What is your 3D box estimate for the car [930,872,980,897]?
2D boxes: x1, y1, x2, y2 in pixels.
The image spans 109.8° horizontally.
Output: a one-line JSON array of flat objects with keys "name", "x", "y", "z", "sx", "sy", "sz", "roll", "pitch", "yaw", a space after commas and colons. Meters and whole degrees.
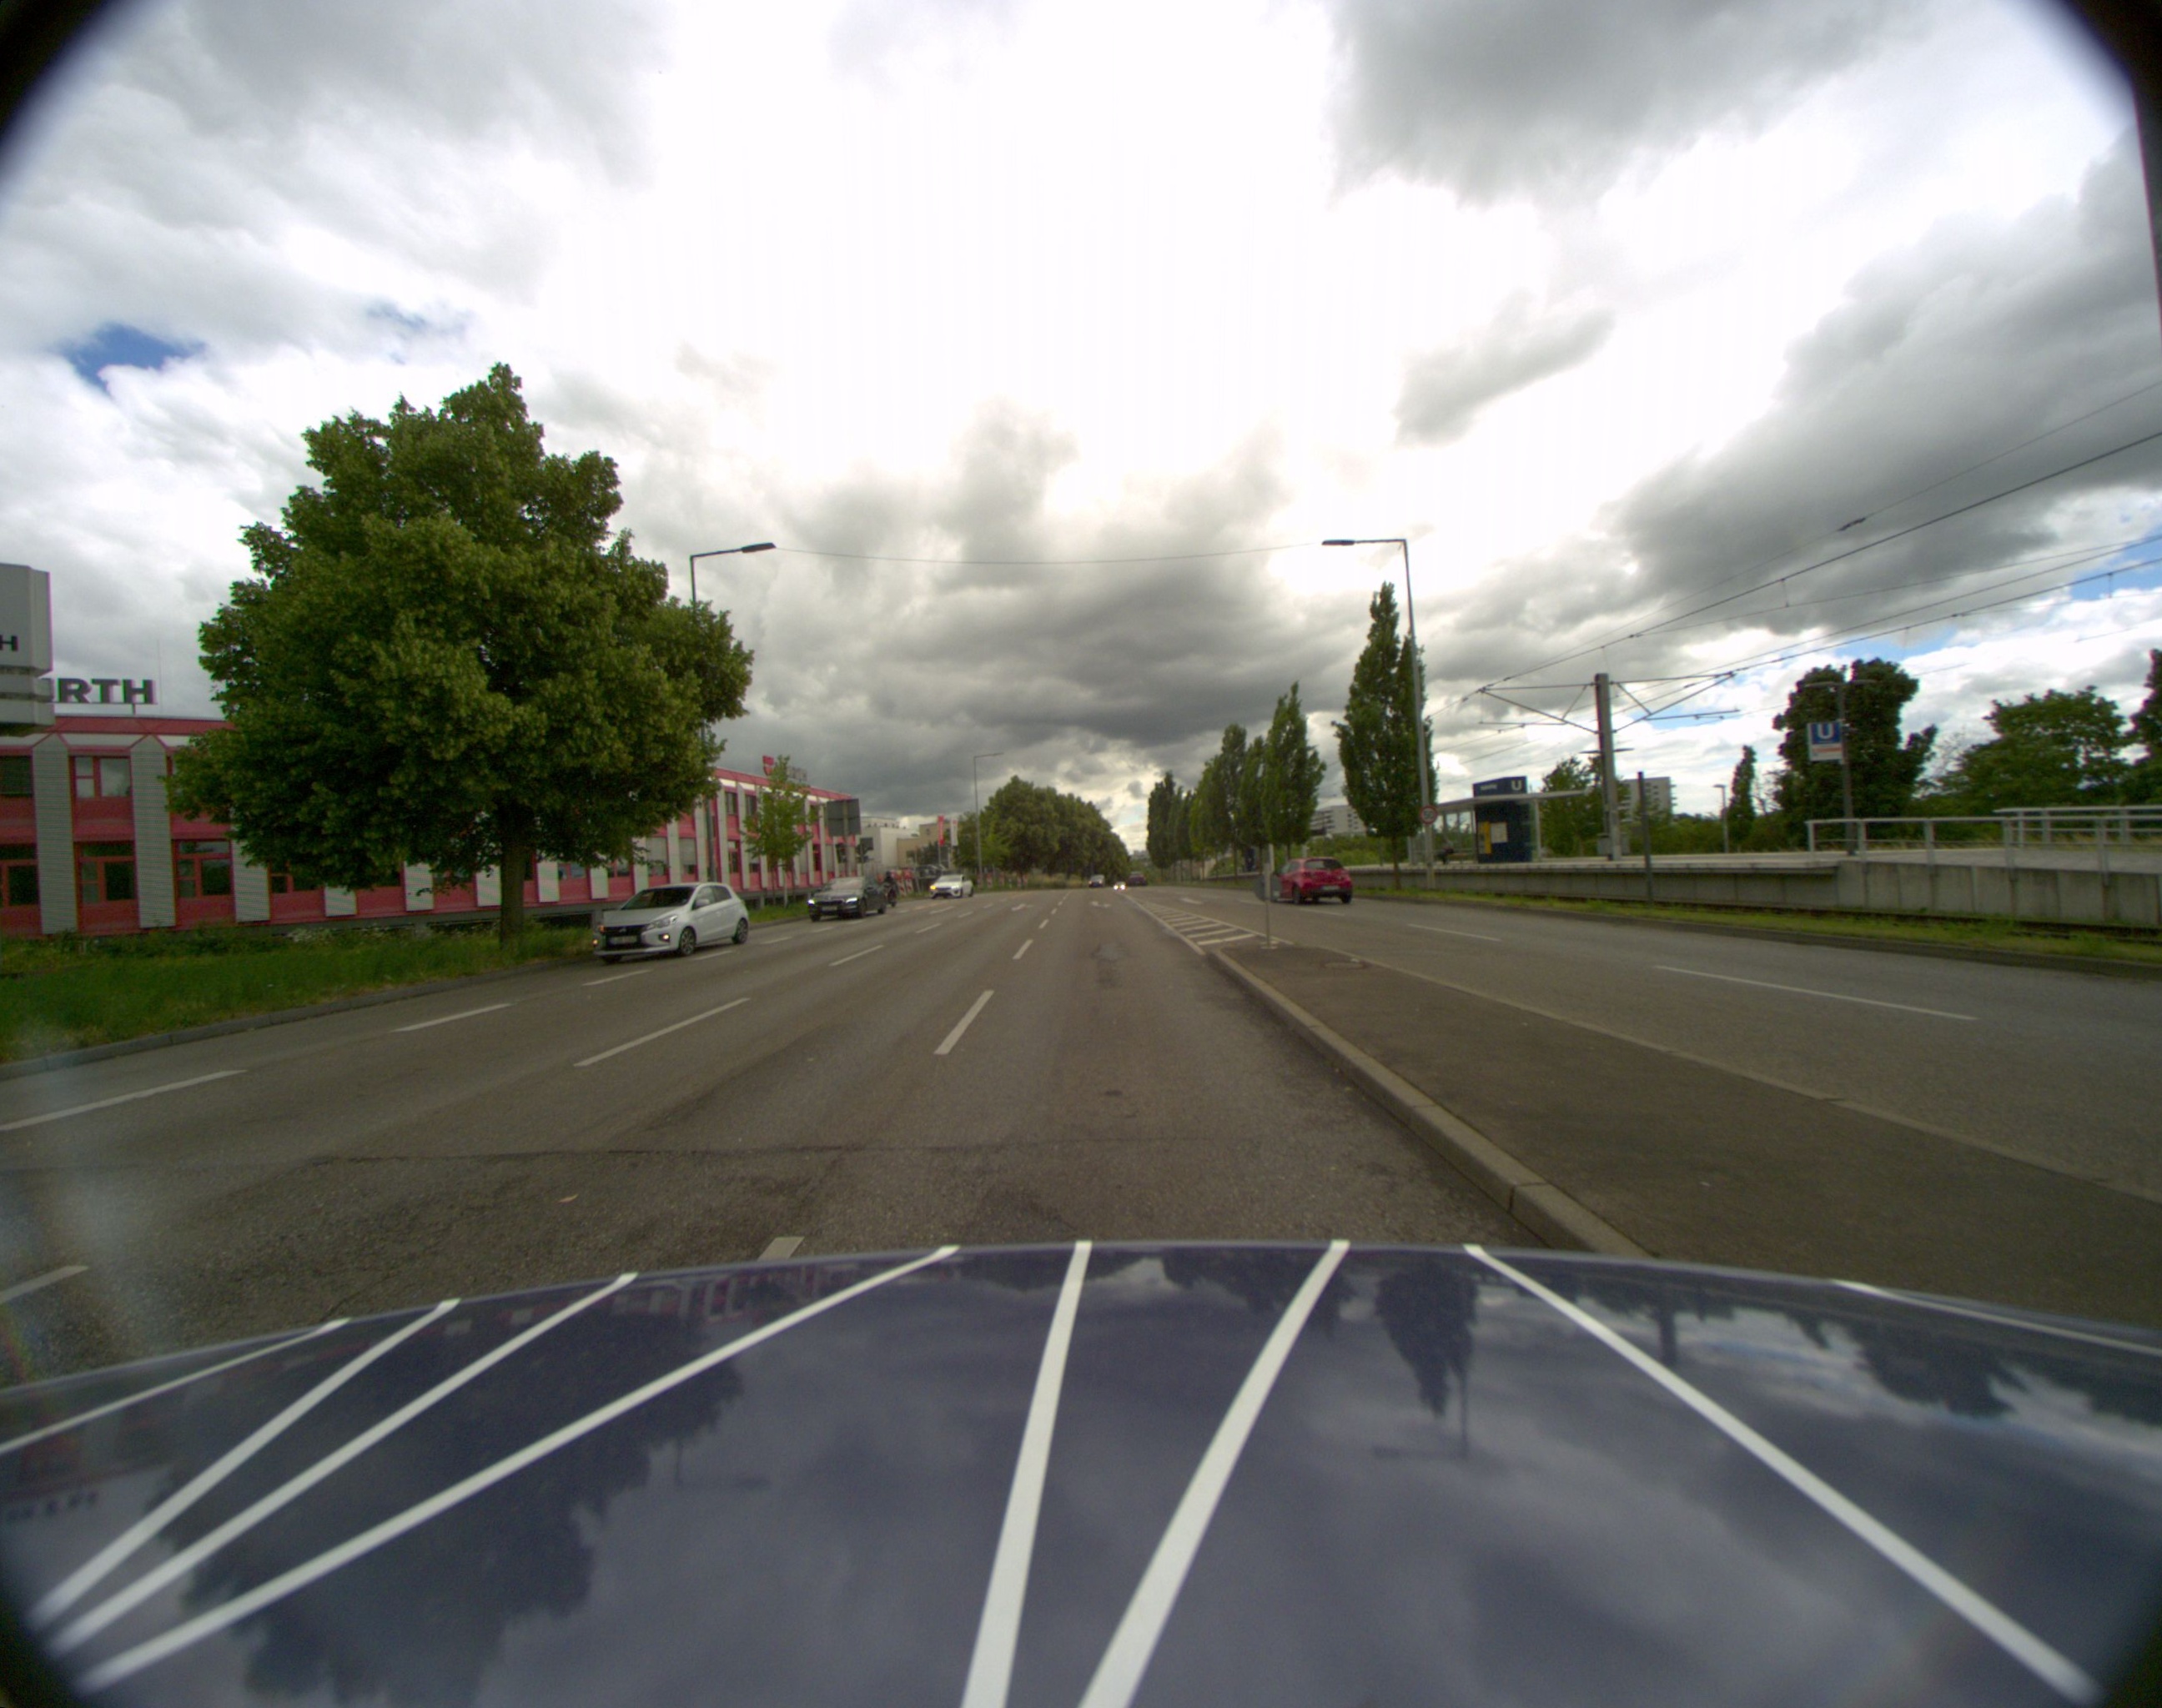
[{"name": "car", "x": -7.524, "y": 1.822, "z": 45.709, "sx": 1.784, "sy": 1.353, "sz": 4.483, "roll": -3, "pitch": -2, "yaw": 6}]

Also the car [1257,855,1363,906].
[{"name": "car", "x": 7.321, "y": 0.831, "z": 24.747, "sx": 1.786, "sy": 1.434, "sz": 4.424, "roll": -3, "pitch": -1, "yaw": -4}]

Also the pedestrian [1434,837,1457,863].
[{"name": "pedestrian", "x": 17.615, "y": -0.180, "z": 36.732, "sx": 0.663, "sy": 1.195, "sz": 0.782, "roll": -2, "pitch": 0, "yaw": -7}]

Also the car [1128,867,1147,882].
[{"name": "car", "x": 6.033, "y": 2.188, "z": 82.003, "sx": 1.782, "sy": 1.537, "sz": 4.225, "roll": -2, "pitch": 0, "yaw": 1}]

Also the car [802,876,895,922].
[{"name": "car", "x": -8.090, "y": 1.533, "z": 26.904, "sx": 1.785, "sy": 1.437, "sz": 4.530, "roll": -1, "pitch": -2, "yaw": 1}]

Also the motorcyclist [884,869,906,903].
[{"name": "motorcyclist", "x": -8.397, "y": 1.445, "z": 34.370, "sx": 0.750, "sy": 1.481, "sz": 0.933, "roll": -4, "pitch": -1, "yaw": -4}]

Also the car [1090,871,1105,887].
[{"name": "car", "x": 2.118, "y": 3.167, "z": 97.237, "sx": 1.782, "sy": 1.744, "sz": 4.253, "roll": -2, "pitch": 0, "yaw": 3}]

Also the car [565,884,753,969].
[{"name": "car", "x": -8.569, "y": 1.408, "z": 15.863, "sx": 1.785, "sy": 1.434, "sz": 3.835, "roll": -3, "pitch": -2, "yaw": -1}]

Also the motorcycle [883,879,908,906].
[{"name": "motorcycle", "x": -8.388, "y": 1.738, "z": 34.438, "sx": 0.750, "sy": 1.140, "sz": 1.942, "roll": -4, "pitch": -1, "yaw": -4}]

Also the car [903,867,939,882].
[{"name": "car", "x": -21.224, "y": 2.675, "z": 101.003, "sx": 4.248, "sy": 1.744, "sz": 1.784, "roll": -2, "pitch": 0, "yaw": 2}]
